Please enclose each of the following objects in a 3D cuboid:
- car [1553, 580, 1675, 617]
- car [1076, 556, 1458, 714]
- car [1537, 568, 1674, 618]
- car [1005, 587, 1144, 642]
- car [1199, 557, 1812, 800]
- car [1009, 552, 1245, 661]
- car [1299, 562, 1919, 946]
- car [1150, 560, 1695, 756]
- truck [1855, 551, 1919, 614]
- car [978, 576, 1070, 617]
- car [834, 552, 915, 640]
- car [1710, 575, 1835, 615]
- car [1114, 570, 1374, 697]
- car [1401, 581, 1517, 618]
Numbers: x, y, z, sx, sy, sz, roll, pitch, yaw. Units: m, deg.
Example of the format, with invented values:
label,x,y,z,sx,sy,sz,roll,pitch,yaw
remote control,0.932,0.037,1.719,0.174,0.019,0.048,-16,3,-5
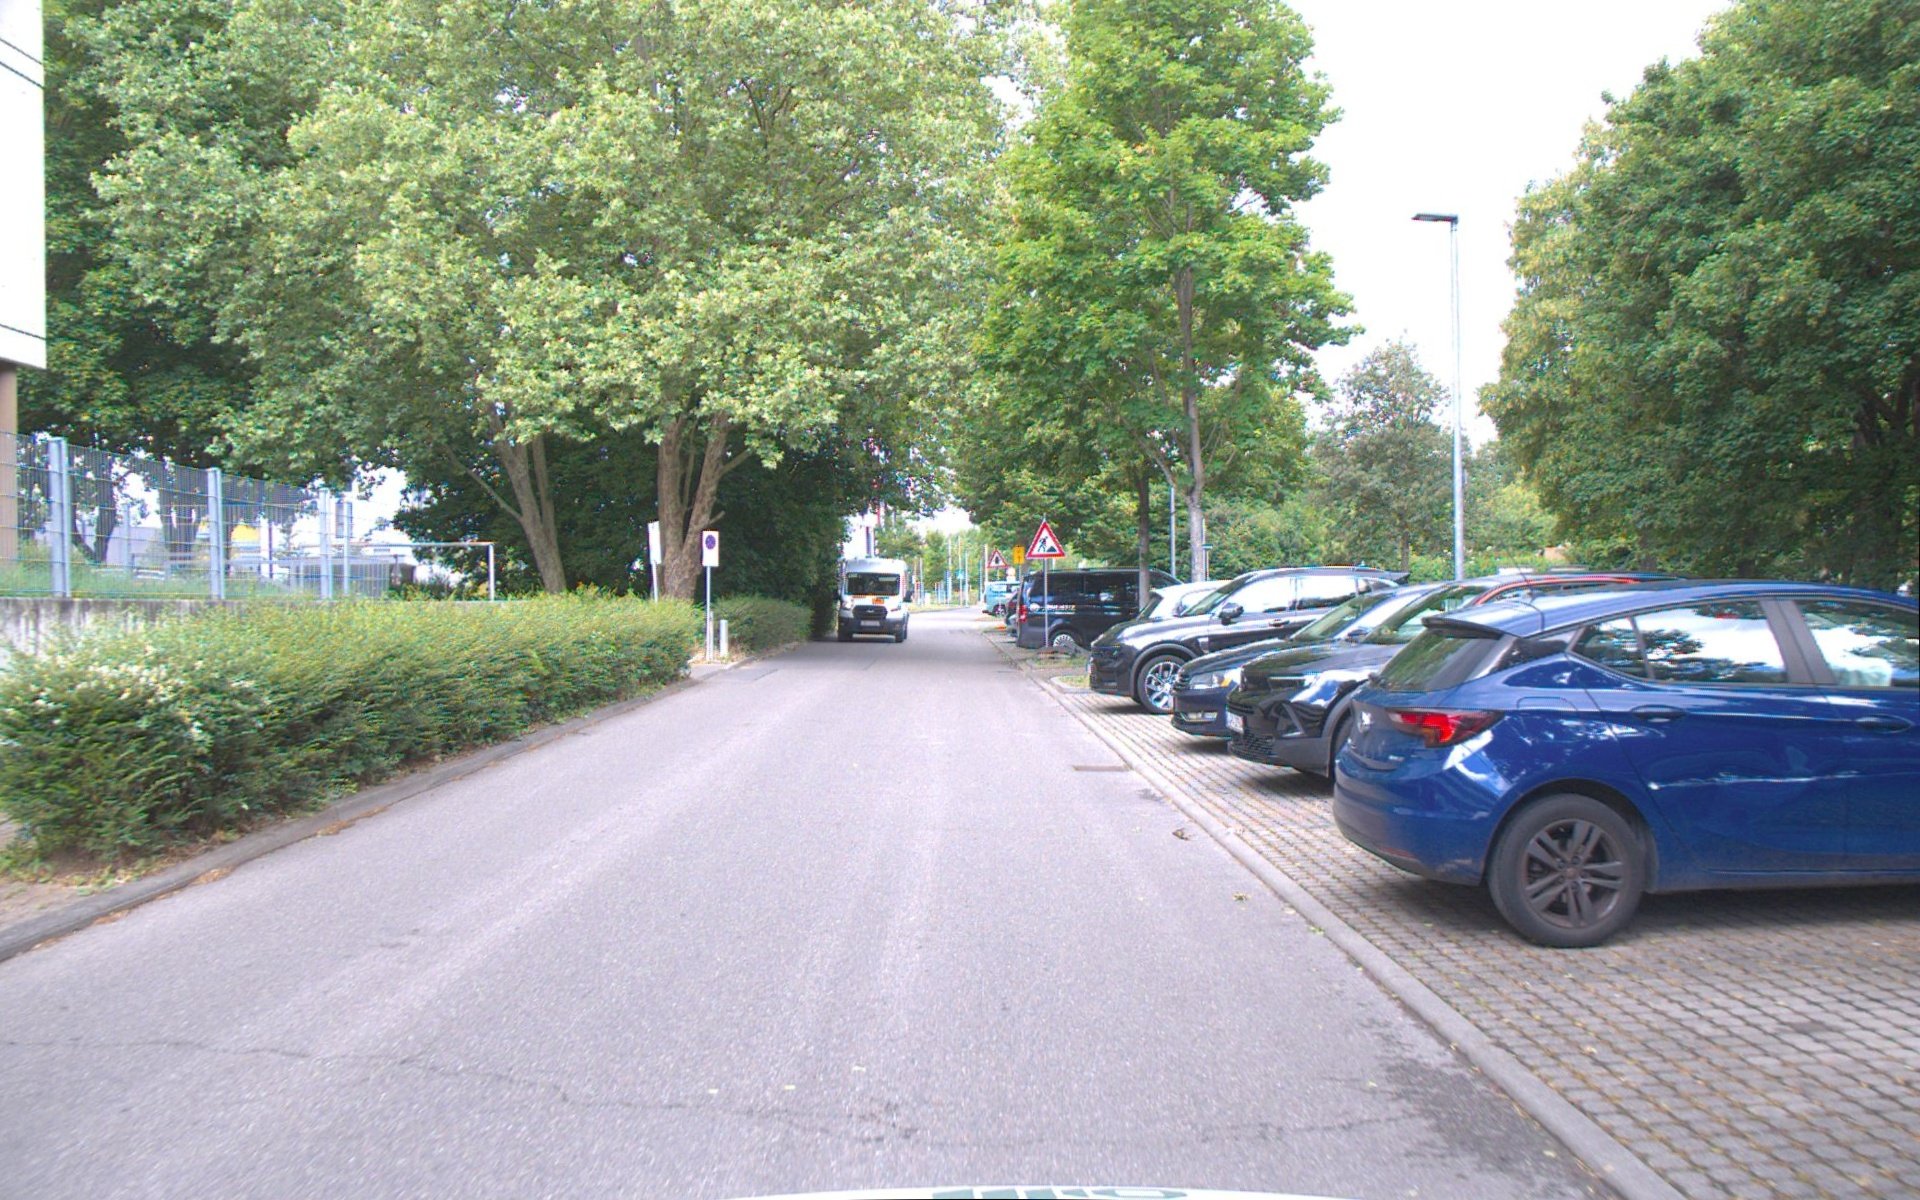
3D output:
label,x,y,z,sx,sy,sz,roll,pitch,yaw
car,26.694,-0.059,67.619,4.334,1.453,1.704,-1,0,6
car,3.729,0.403,20.704,4.326,1.705,2.082,-2,1,-1
car,28.311,-0.306,72.724,5.206,2.093,2.139,-1,0,5
car,3.340,0.435,48.922,3.906,1.455,1.935,-2,-1,-1
car,4.014,0.543,12.591,3.993,1.544,1.849,-2,0,-5
car,3.571,0.131,36.128,4.853,2.048,2.166,-3,0,0
car,3.781,0.592,7.698,3.989,1.482,1.851,-2,0,0
car,4.177,0.499,15.524,4.541,1.543,1.983,-2,1,1
truck,39.251,-0.698,66.385,5.390,2.468,2.194,-1,0,6
car,3.430,-0.173,89.476,4.871,2.006,1.847,-2,0,0
car,-2.550,-0.136,50.944,2.088,2.519,6.277,1,0,1
car,32.817,-0.193,66.867,4.192,1.553,1.704,-1,0,6
car,3.939,0.442,23.320,3.310,1.602,1.796,-2,1,-1
car,20.572,-0.007,68.296,4.300,1.453,1.704,-1,0,5
